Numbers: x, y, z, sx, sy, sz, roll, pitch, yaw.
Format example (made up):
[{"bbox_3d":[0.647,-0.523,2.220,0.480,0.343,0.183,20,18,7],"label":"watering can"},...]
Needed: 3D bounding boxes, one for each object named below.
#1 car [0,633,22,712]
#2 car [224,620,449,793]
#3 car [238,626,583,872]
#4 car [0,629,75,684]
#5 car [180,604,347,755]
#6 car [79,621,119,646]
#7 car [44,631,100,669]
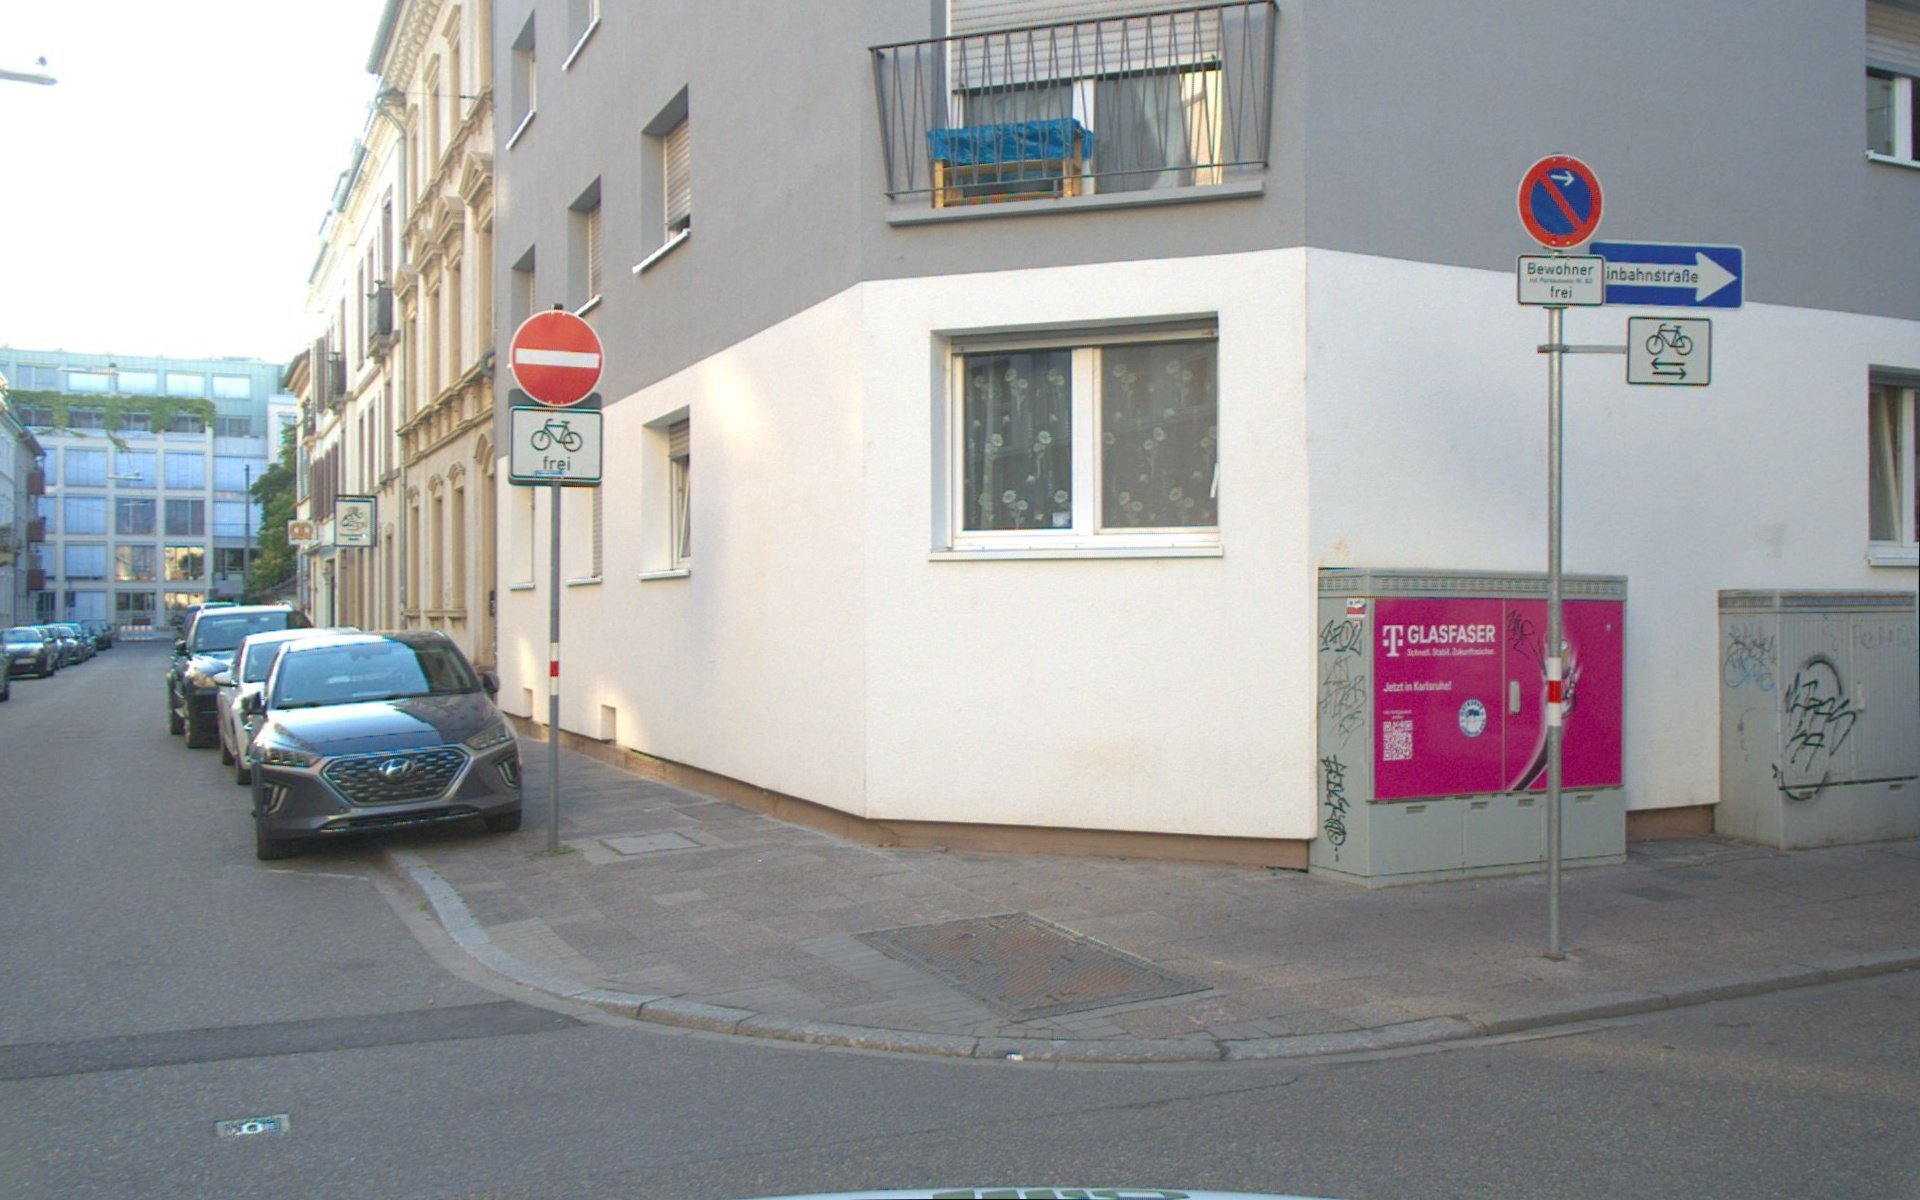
[{"bbox_3d":[-19.206,1.370,31.507,1.969,1.378,4.392,-1,0,-25],"label":"car"},{"bbox_3d":[-6.798,1.030,17.782,1.939,1.584,3.856,-1,0,-26],"label":"car"},{"bbox_3d":[-4.230,0.955,12.337,1.915,1.396,3.756,-3,1,-26],"label":"car"},{"bbox_3d":[-26.677,1.596,47.475,2.148,1.443,3.964,-1,0,-27],"label":"car"},{"bbox_3d":[-9.519,0.987,22.436,1.871,1.815,3.966,-1,0,-26],"label":"car"},{"bbox_3d":[-49.623,1.927,95.405,1.970,1.332,3.848,-1,0,-27],"label":"car"},{"bbox_3d":[-33.742,1.862,62.896,1.686,1.325,3.966,-1,0,-26],"label":"car"}]
